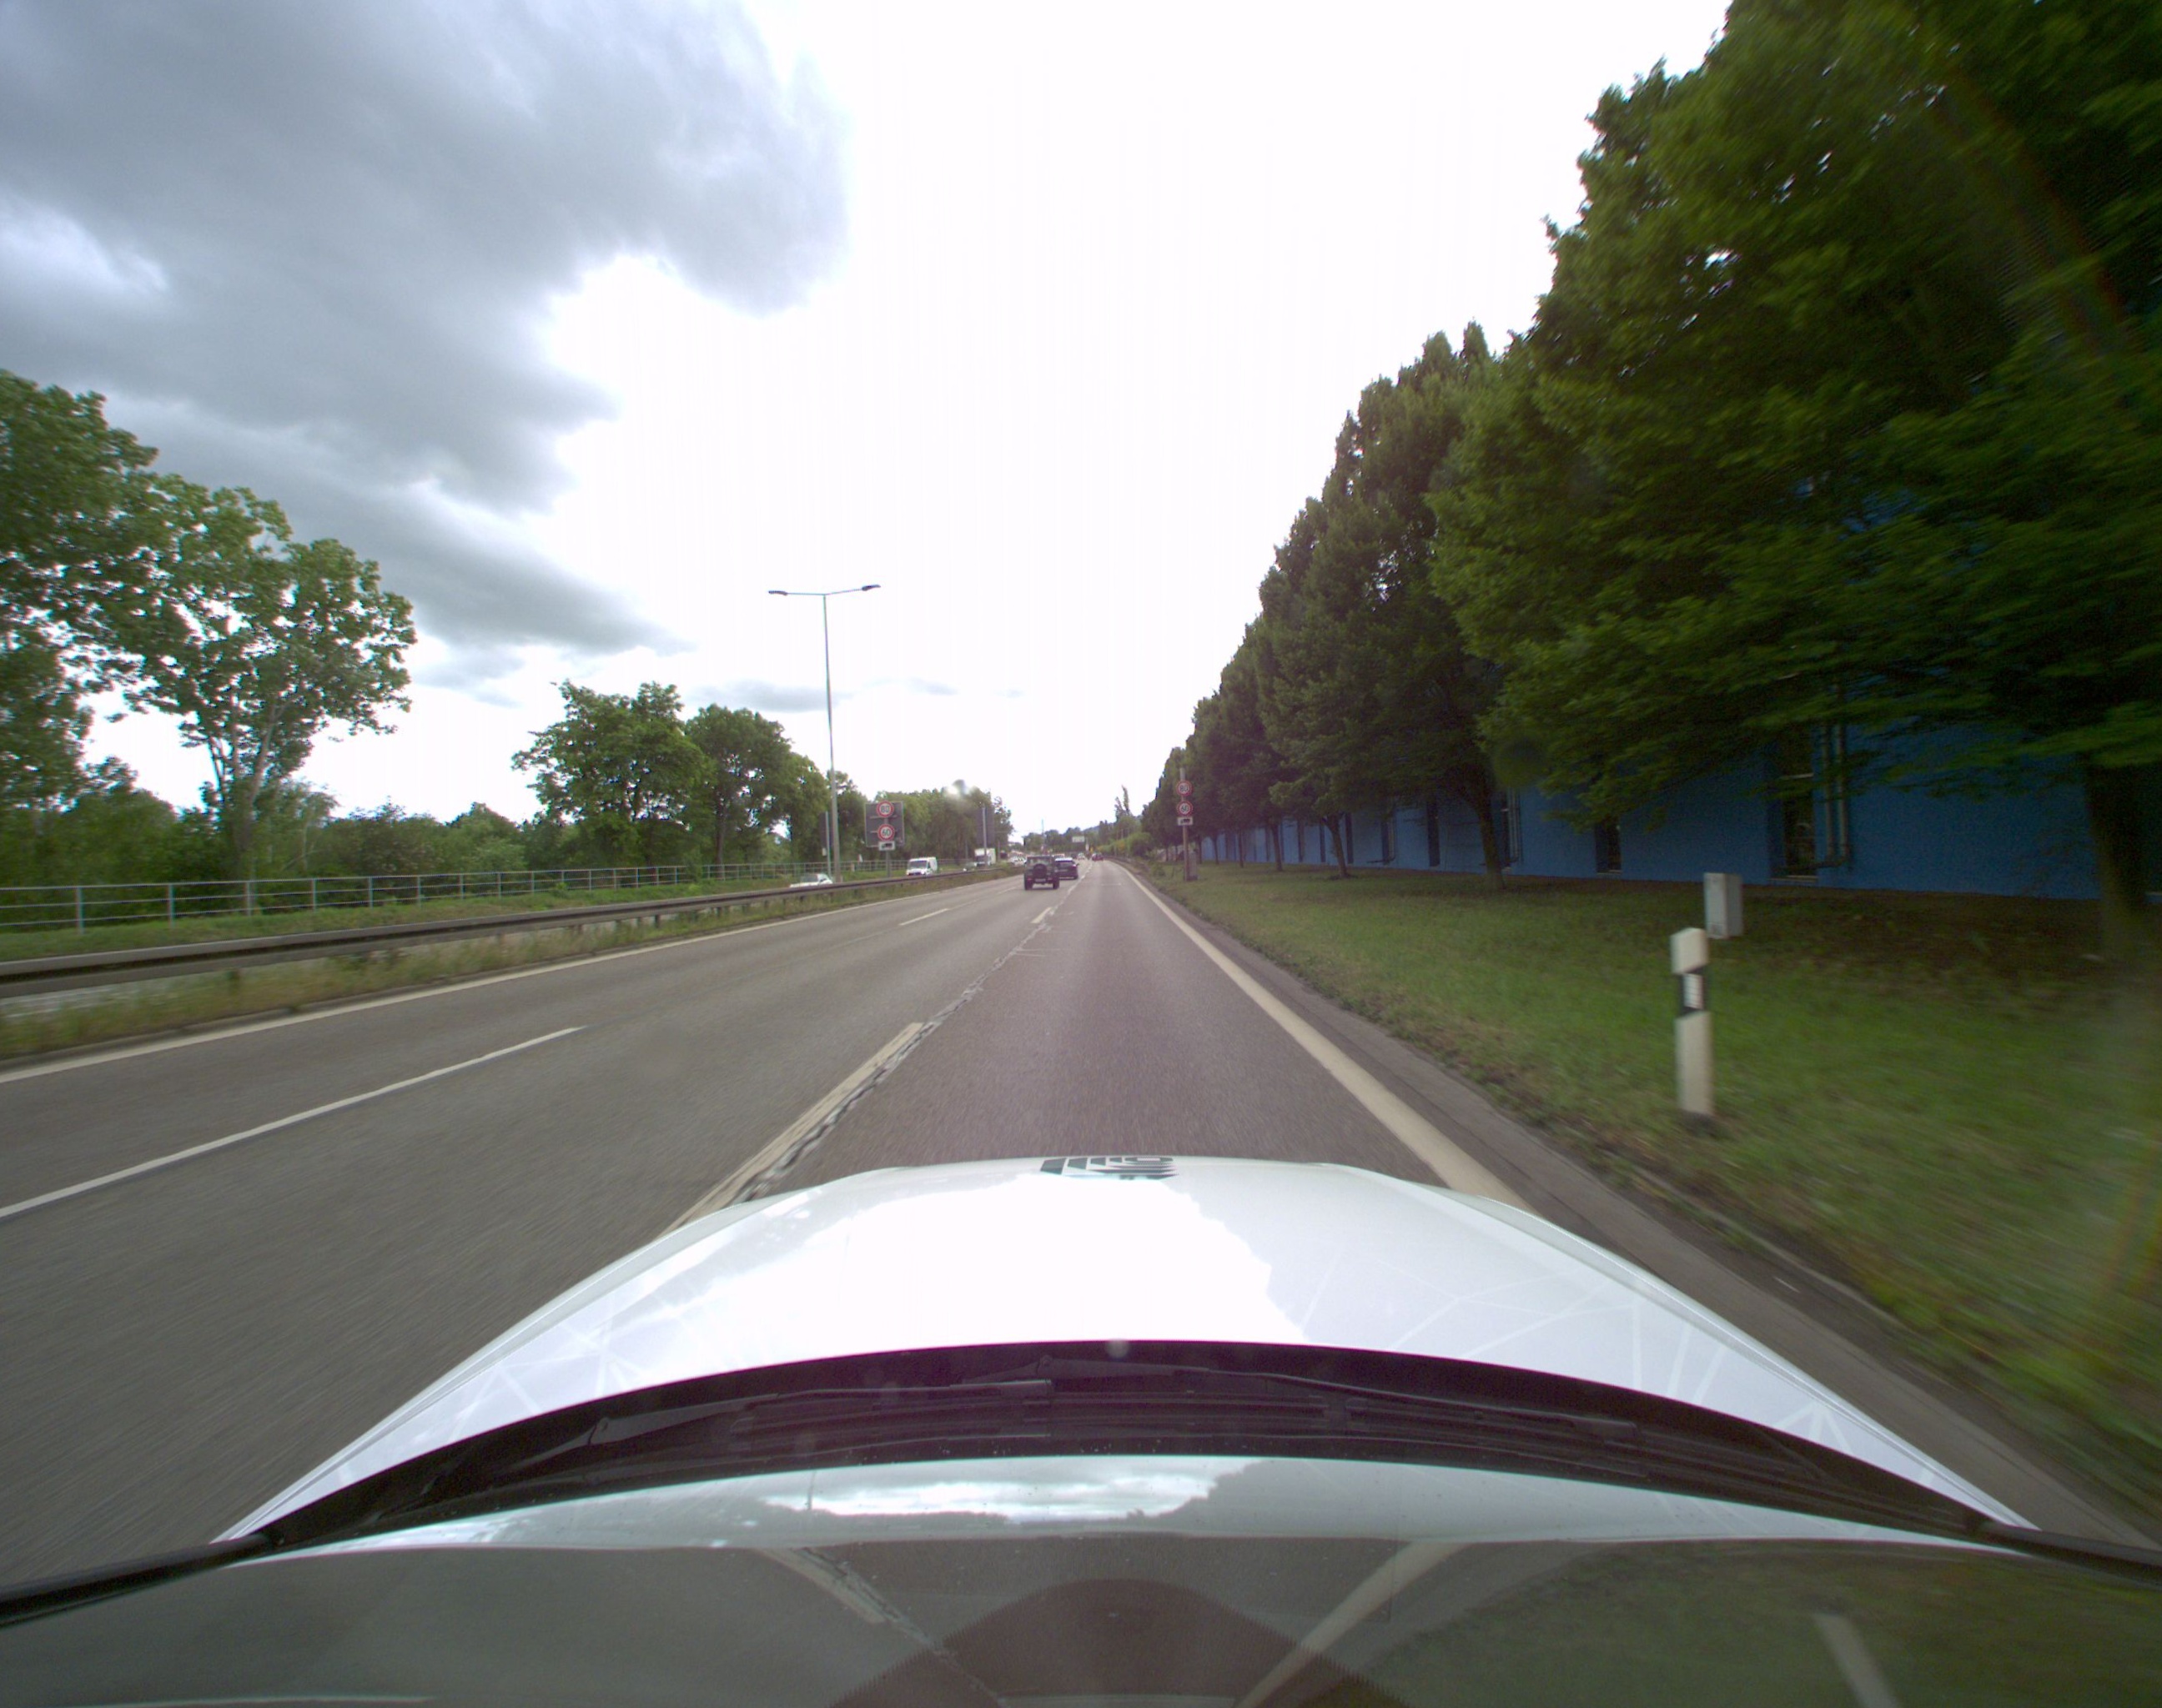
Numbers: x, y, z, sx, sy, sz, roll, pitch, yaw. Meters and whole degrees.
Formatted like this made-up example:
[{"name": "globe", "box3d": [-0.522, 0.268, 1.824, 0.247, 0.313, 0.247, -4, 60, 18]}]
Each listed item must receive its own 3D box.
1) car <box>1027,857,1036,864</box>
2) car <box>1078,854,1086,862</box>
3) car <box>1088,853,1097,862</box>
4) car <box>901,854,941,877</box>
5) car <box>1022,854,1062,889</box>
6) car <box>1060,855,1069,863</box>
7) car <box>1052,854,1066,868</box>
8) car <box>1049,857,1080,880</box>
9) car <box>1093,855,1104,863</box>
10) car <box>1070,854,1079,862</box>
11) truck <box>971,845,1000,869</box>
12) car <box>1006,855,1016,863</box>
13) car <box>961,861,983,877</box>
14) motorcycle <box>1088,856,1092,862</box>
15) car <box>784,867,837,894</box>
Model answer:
[{"name": "car", "box3d": [-11.951, 1.642, 198.463, 1.691, 1.605, 4.540, -5, 0, 2]}, {"name": "car", "box3d": [0.221, 0.993, 211.348, 2.006, 1.934, 4.900, -4, 0, 1]}, {"name": "car", "box3d": [2.485, 0.769, 177.194, 1.691, 1.742, 4.396, -3, 0, 2]}, {"name": "car", "box3d": [-14.785, 1.009, 75.513, 2.216, 1.948, 5.479, -3, 0, 4]}, {"name": "car", "box3d": [-1.939, 0.851, 41.403, 1.691, 1.686, 4.002, 0, 0, 2]}, {"name": "car", "box3d": [-3.881, 1.128, 194.525, 1.691, 1.742, 4.396, -4, 0, 2]}, {"name": "car", "box3d": [-2.963, 0.963, 111.891, 1.692, 1.742, 4.000, -3, 0, 1]}, {"name": "car", "box3d": [-1.096, 0.948, 55.576, 1.838, 1.423, 4.902, -2, 0, 2]}, {"name": "car", "box3d": [3.276, 0.973, 156.668, 1.968, 1.423, 4.900, -4, 0, 1]}, {"name": "car", "box3d": [-1.849, 1.122, 227.537, 2.008, 1.934, 4.896, -4, 0, -2]}, {"name": "truck", "box3d": [-15.950, 0.496, 136.492, 2.876, 3.578, 9.596, -3, 0, 4]}, {"name": "car", "box3d": [-16.265, 1.204, 188.239, 1.720, 1.605, 4.044, -5, 0, 2]}, {"name": "car", "box3d": [-13.120, 1.776, 98.283, 1.870, 1.724, 4.151, -2, 0, 4]}, {"name": "motorcycle", "box3d": [2.171, 1.181, 195.864, 0.788, 1.219, 2.331, -2, 0, 2]}, {"name": "car", "box3d": [-16.045, 1.522, 48.420, 1.653, 1.398, 3.990, -2, 0, 2]}]
